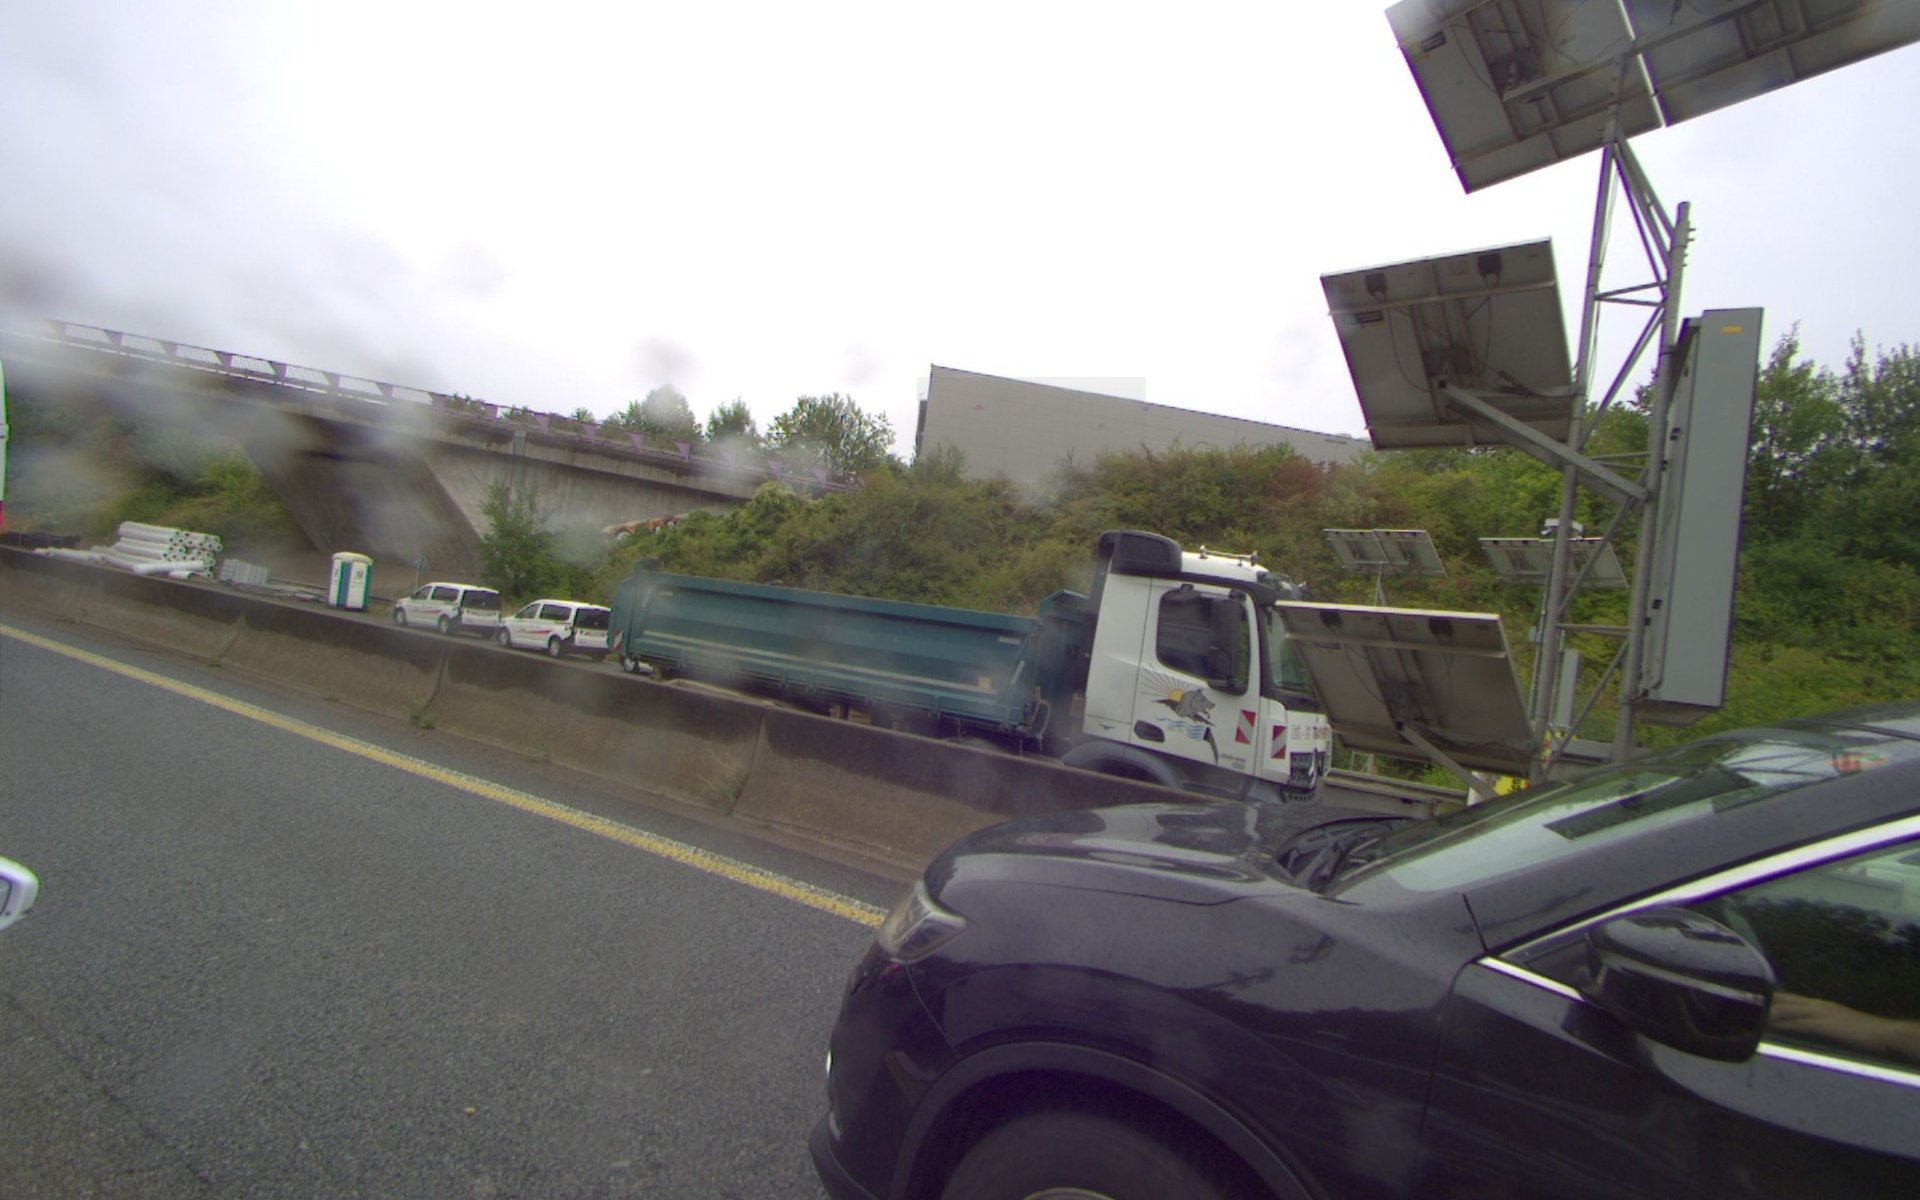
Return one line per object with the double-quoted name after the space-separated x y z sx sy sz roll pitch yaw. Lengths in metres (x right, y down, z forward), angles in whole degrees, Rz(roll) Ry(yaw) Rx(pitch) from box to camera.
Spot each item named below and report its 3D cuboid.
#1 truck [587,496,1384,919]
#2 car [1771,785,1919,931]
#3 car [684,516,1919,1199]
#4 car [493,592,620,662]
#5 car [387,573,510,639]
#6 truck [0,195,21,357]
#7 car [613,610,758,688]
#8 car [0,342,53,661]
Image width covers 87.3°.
-0.217 0.759 11.722 8.969 3.168 2.525 6 -2 32 "truck"
15.262 4.145 15.284 4.197 1.778 1.732 6 -2 31 "car"
1.916 0.973 1.708 4.563 1.694 1.894 6 -2 31 "car"
-13.201 0.871 32.851 4.058 1.765 1.731 6 -2 34 "car"
-18.353 0.209 36.052 4.087 1.829 1.851 6 -2 30 "car"
-24.177 -4.352 19.024 20.041 5.739 3.986 6 -1 32 "truck"
-8.160 1.443 29.833 4.057 1.745 1.731 6 -2 33 "car"
-11.215 -1.188 9.514 6.017 2.707 2.148 6 -2 32 "car"
